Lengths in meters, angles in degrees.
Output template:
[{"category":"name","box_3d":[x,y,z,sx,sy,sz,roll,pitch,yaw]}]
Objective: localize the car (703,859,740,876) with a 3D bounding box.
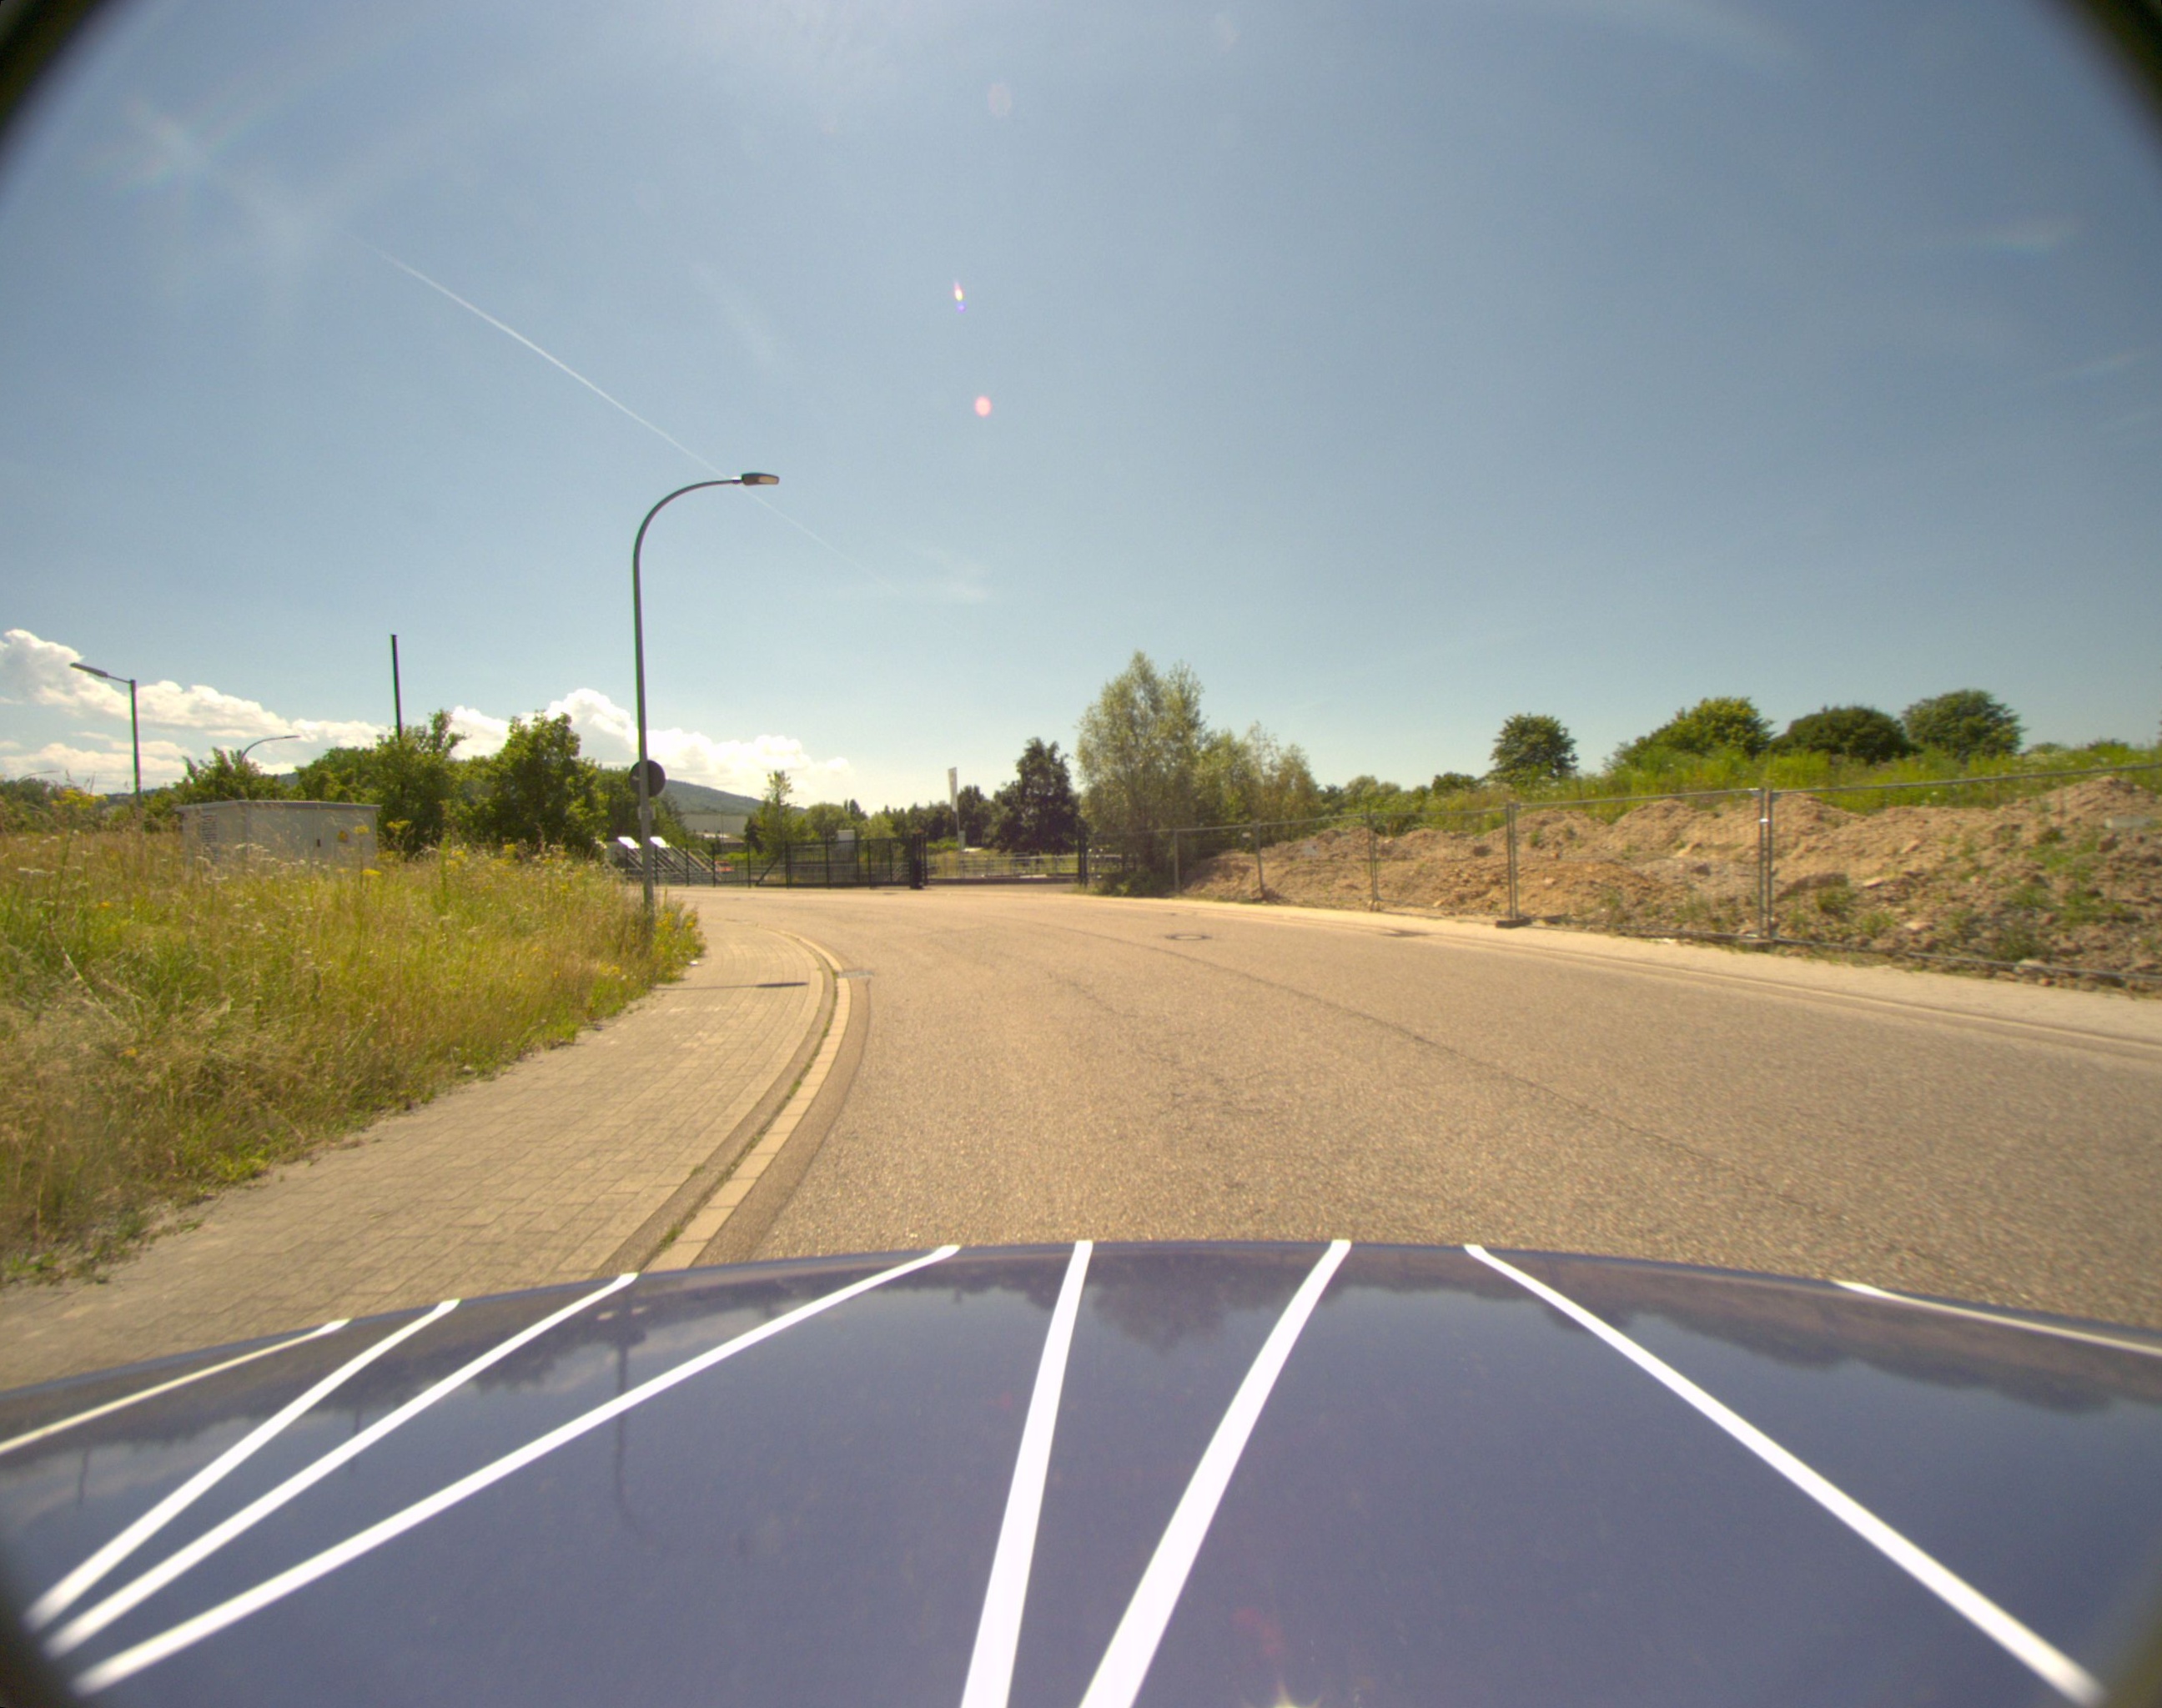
[{"category":"car","box_3d":[-35.727,1.318,75.396,3.988,1.608,1.804,-1,1,41]}]

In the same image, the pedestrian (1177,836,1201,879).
[{"category":"pedestrian","box_3d":[5.507,0.188,38.835,0.914,2.138,0.881,-2,0,25]}]
